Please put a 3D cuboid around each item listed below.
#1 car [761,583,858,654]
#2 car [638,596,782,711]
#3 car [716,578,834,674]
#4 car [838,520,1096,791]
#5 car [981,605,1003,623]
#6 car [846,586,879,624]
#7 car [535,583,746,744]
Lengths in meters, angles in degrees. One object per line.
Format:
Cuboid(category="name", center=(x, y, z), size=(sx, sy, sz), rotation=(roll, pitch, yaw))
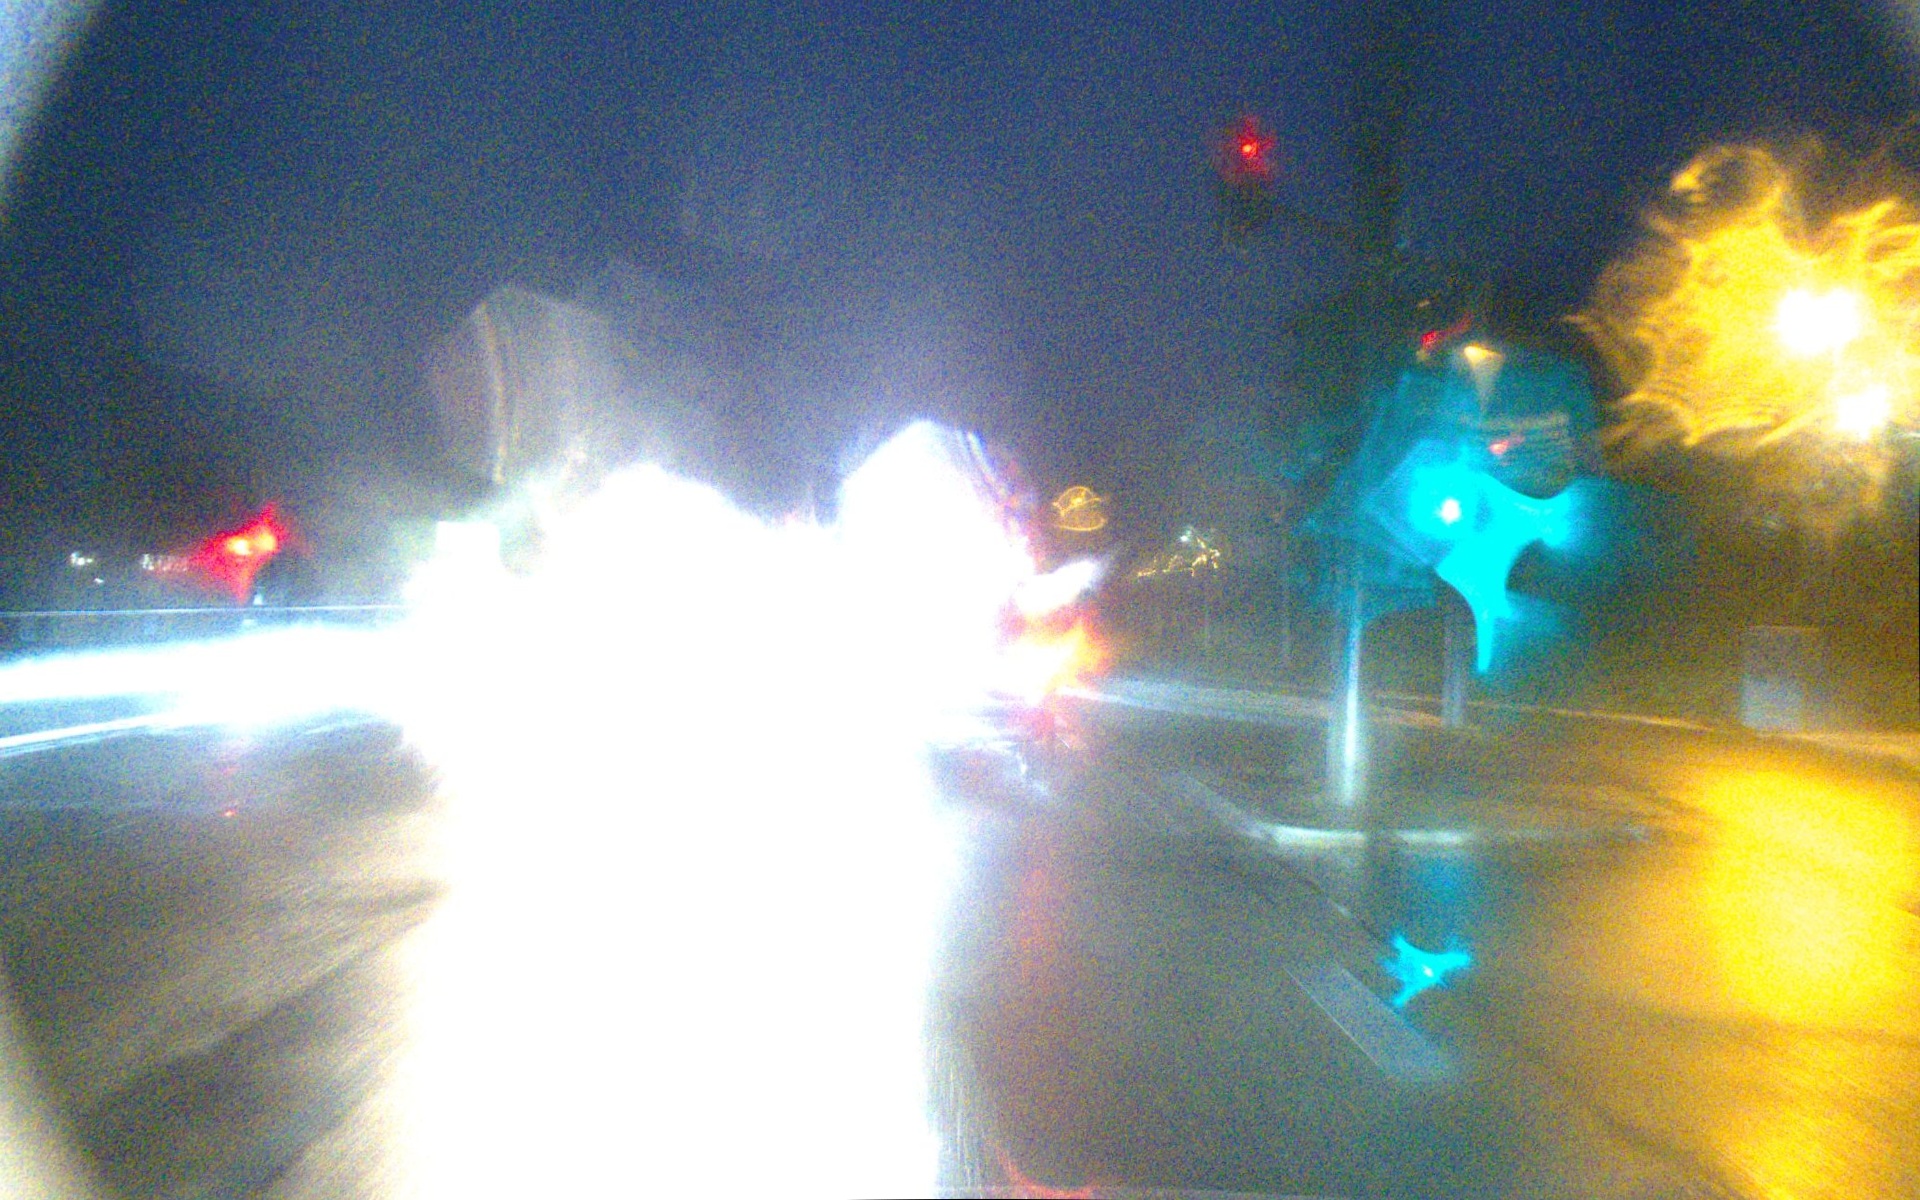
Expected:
Cuboid(category="car", center=(-3.635, 0.426, 40.637), size=(1.806, 1.602, 4.597), rotation=(1, 0, 2))
Cuboid(category="car", center=(-3.524, 0.713, 23.921), size=(1.589, 1.498, 3.883), rotation=(1, 0, -2))
Cuboid(category="car", center=(-3.505, 0.463, 32.052), size=(1.806, 1.698, 4.444), rotation=(1, 0, -1))
Cuboid(category="car", center=(0.002, 0.426, 14.620), size=(1.903, 2.006, 4.217), rotation=(1, 0, -2))
Cuboid(category="car", center=(2.803, 1.191, 143.480), size=(1.628, 1.475, 4.052), rotation=(1, -1, 6))
Cuboid(category="car", center=(-7.410, 0.377, 126.381), size=(2.079, 2.755, 6.240), rotation=(1, 0, 0))
Cuboid(category="car", center=(-3.261, 0.602, 17.496), size=(1.635, 1.498, 3.631), rotation=(1, 0, -3))
